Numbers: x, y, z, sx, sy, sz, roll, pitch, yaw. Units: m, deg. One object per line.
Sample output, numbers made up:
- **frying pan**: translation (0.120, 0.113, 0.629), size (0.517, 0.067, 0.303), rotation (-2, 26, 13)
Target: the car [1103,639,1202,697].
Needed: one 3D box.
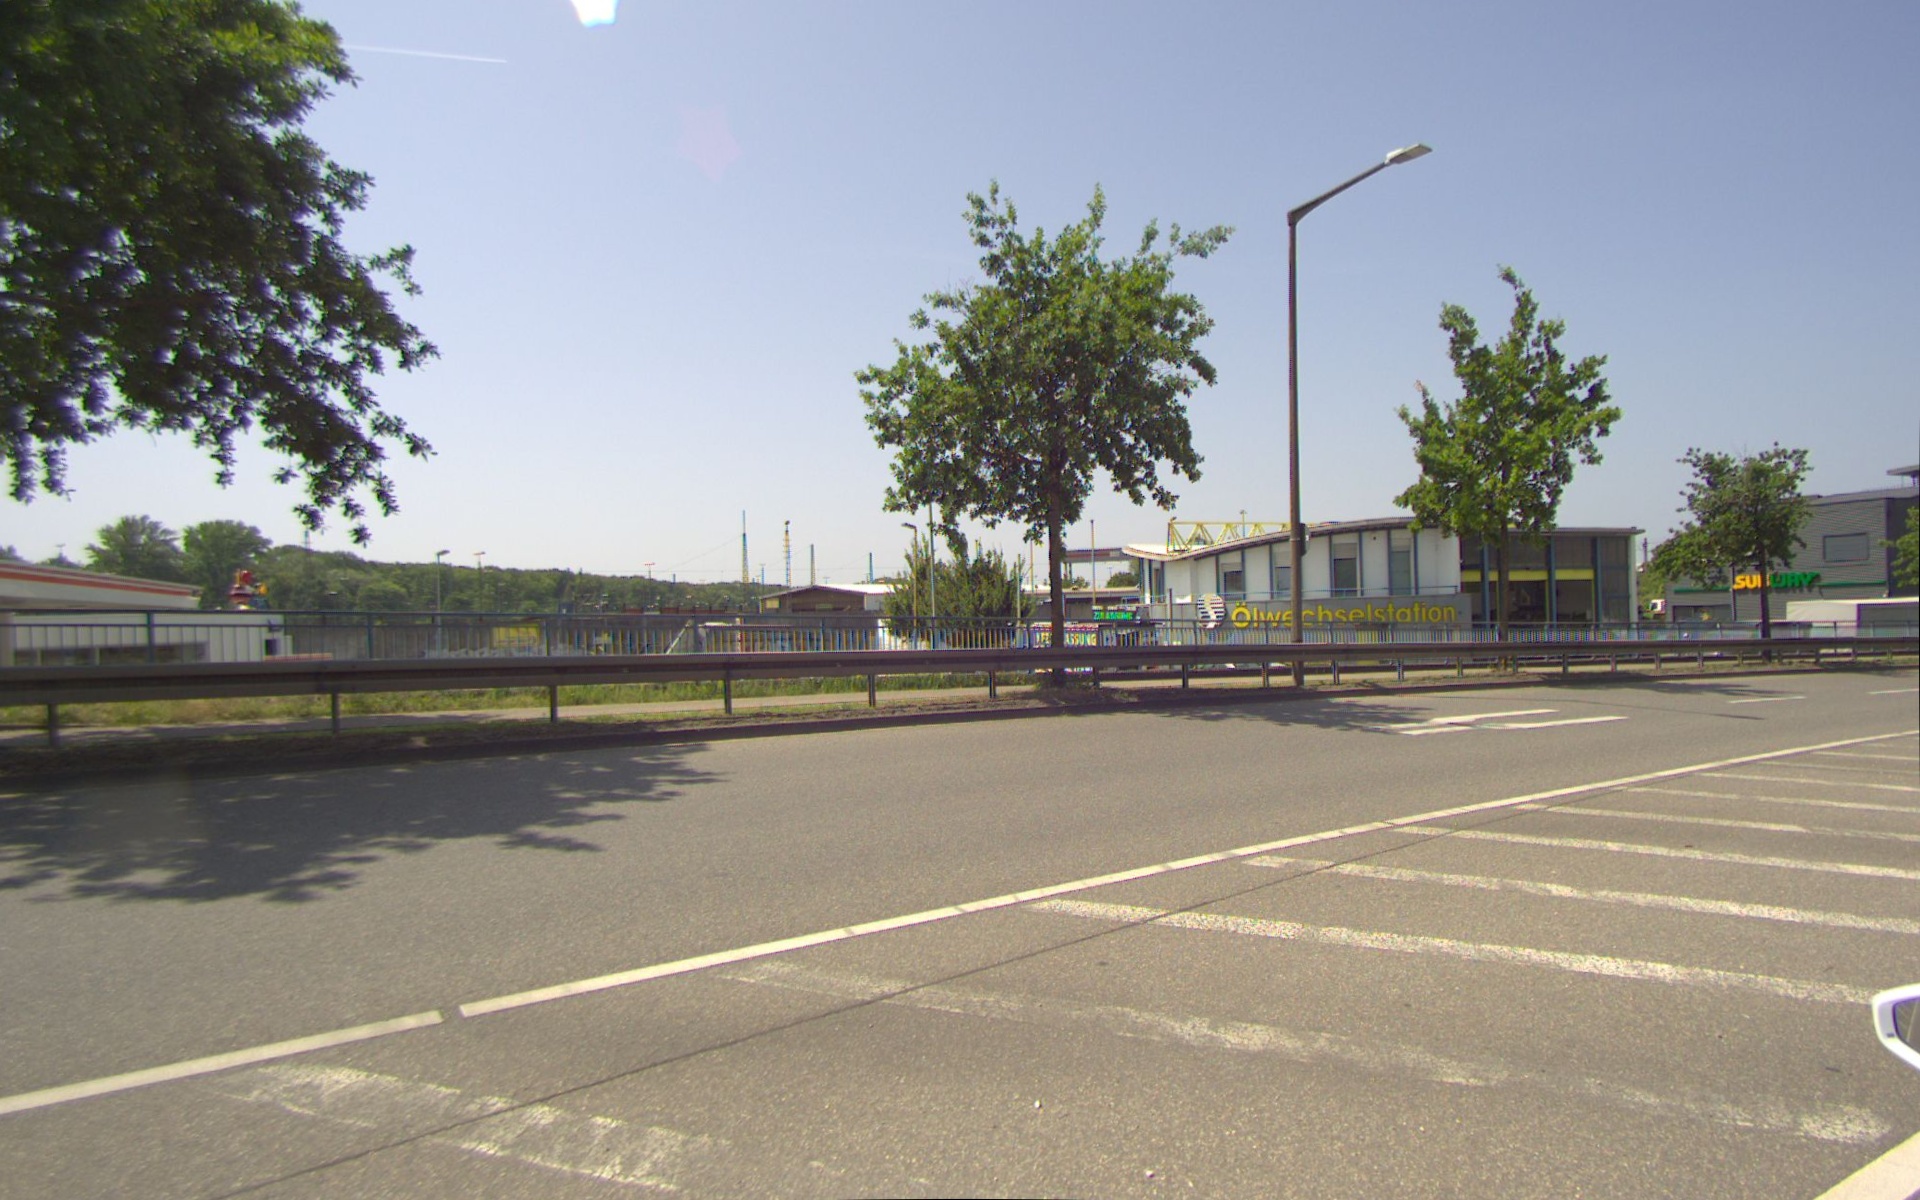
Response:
- **car**: translation (7.592, 2.645, 39.968), size (1.972, 2.040, 3.977), rotation (0, 0, -24)

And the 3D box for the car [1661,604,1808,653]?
- **car**: translation (26.879, 1.003, 34.870), size (4.570, 1.589, 1.895), rotation (0, -3, -21)
